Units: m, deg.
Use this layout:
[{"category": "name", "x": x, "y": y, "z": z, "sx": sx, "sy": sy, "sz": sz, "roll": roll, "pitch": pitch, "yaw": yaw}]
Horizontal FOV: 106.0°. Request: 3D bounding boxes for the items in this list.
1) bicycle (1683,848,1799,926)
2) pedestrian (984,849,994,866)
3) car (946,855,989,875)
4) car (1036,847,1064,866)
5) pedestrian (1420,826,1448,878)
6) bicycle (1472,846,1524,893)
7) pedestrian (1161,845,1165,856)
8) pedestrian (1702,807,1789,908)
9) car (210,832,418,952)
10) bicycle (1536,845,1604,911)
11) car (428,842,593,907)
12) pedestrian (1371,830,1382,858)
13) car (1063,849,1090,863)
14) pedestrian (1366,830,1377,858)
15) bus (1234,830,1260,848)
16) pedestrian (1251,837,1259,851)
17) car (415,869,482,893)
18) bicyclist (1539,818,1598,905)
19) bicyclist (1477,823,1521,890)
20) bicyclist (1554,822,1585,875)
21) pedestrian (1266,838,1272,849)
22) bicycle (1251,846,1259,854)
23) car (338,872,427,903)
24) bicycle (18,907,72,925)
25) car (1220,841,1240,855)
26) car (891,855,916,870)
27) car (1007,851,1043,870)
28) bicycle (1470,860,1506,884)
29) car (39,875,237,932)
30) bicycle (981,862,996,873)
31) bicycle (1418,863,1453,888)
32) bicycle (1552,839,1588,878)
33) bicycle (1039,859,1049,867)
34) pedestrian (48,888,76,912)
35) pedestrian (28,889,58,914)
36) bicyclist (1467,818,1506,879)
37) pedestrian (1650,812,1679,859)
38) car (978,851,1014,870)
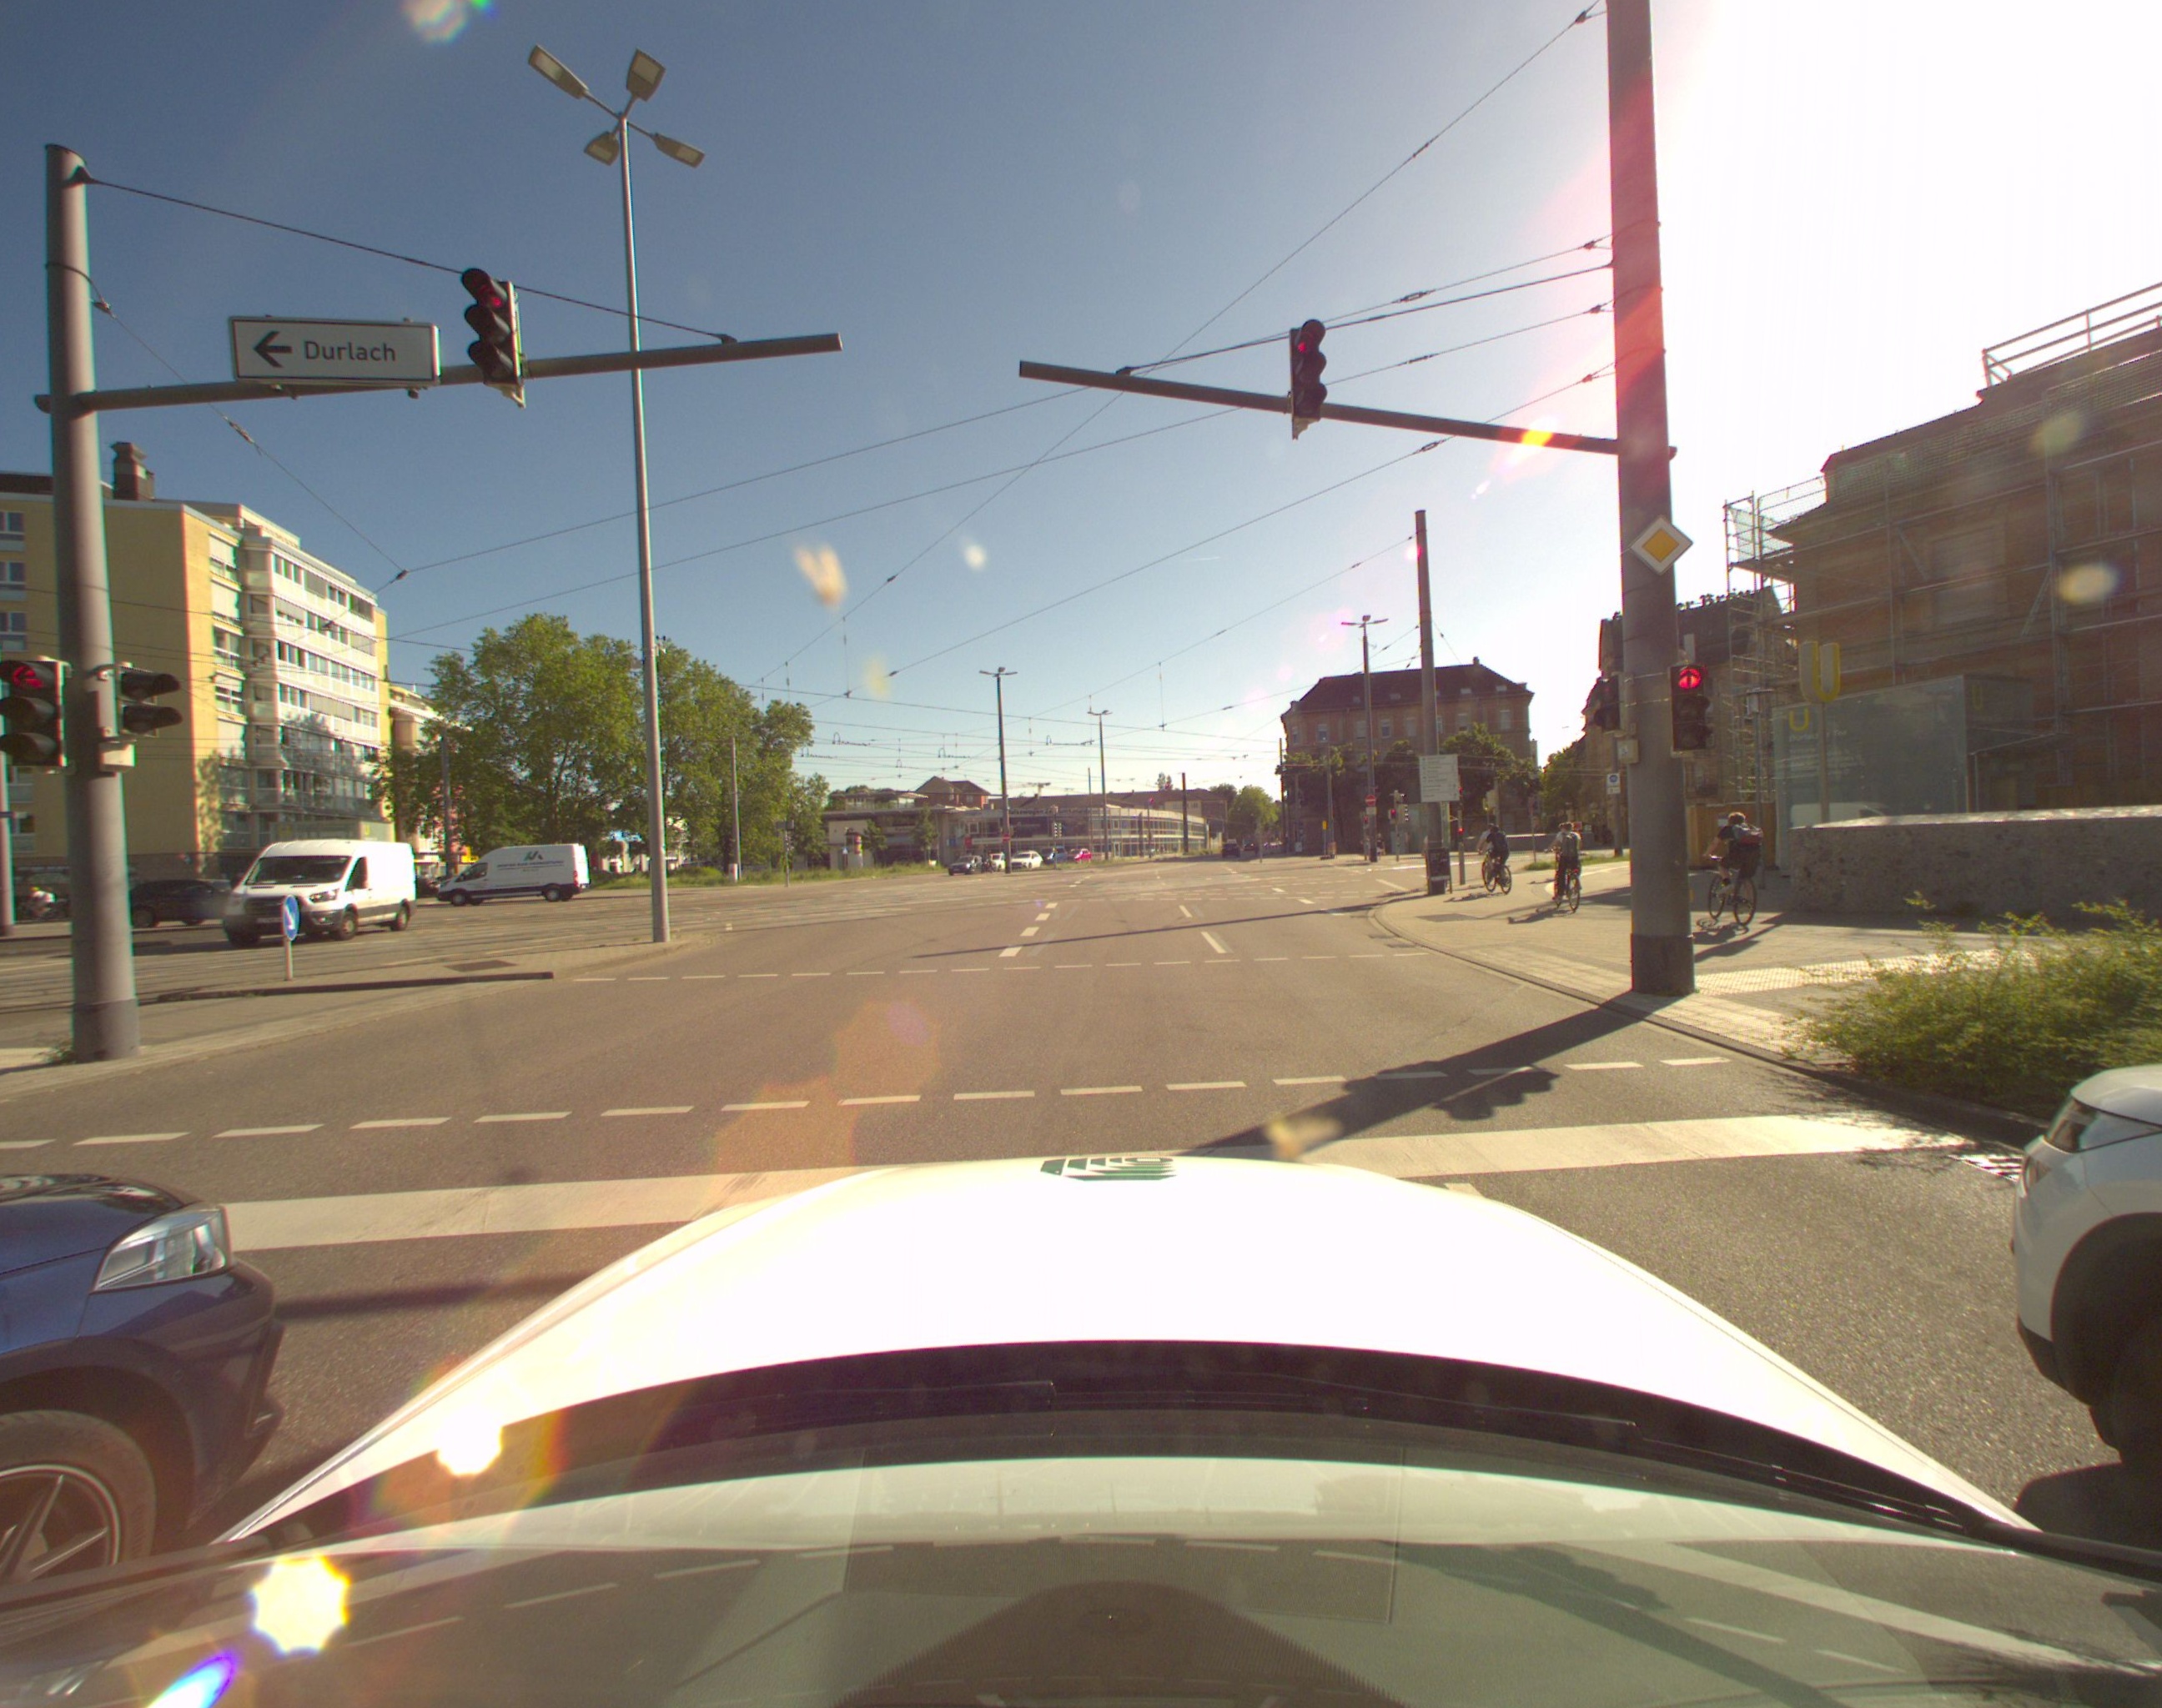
[{"category": "bicycle", "x": 9.877, "y": 0.457, "z": 12.266, "sx": 0.513, "sy": 1.044, "sz": 1.773, "roll": -4, "pitch": 0, "yaw": 10}, {"category": "pedestrian", "x": -6.858, "y": 0.264, "z": 60.822, "sx": 0.419, "sy": 1.204, "sz": 0.753, "roll": -2, "pitch": 0, "yaw": 19}, {"category": "car", "x": -8.500, "y": 0.785, "z": 61.246, "sx": 1.689, "sy": 1.354, "sz": 3.719, "roll": -2, "pitch": 0, "yaw": 19}, {"category": "car", "x": -2.994, "y": 0.234, "z": 79.219, "sx": 1.613, "sy": 1.692, "sz": 3.702, "roll": -2, "pitch": 0, "yaw": 17}, {"category": "pedestrian", "x": 10.838, "y": -0.071, "z": 25.051, "sx": 0.545, "sy": 1.562, "sz": 0.860, "roll": -2, "pitch": 0, "yaw": 9}, {"category": "bicycle", "x": 10.758, "y": 0.374, "z": 21.065, "sx": 0.621, "sy": 1.114, "sz": 1.856, "roll": -5, "pitch": 0, "yaw": 11}, {"category": "pedestrian", "x": 12.530, "y": -0.493, "z": 124.515, "sx": 0.538, "sy": 1.688, "sz": 0.633, "roll": -2, "pitch": 0, "yaw": 19}, {"category": "pedestrian", "x": 9.806, "y": 0.052, "z": 12.054, "sx": 0.513, "sy": 1.402, "sz": 0.964, "roll": -4, "pitch": 0, "yaw": 10}, {"category": "car", "x": -18.721, "y": 0.841, "z": 20.263, "sx": 2.003, "sy": 2.508, "sz": 5.376, "roll": -2, "pitch": 0, "yaw": -24}, {"category": "bicycle", "x": 9.529, "y": 0.443, "z": 15.942, "sx": 0.679, "sy": 1.163, "sz": 1.892, "roll": -4, "pitch": 0, "yaw": 19}, {"category": "car", "x": -26.888, "y": 0.921, "z": 38.647, "sx": 5.920, "sy": 2.744, "sz": 2.131, "roll": -2, "pitch": 0, "yaw": -18}, {"category": "pedestrian", "x": 21.875, "y": -0.722, "z": 60.294, "sx": 0.461, "sy": 2.013, "sz": 0.449, "roll": -3, "pitch": 0, "yaw": -16}, {"category": "car", "x": -0.442, "y": 0.241, "z": 86.289, "sx": 1.613, "sy": 1.364, "sz": 3.703, "roll": -2, "pitch": 0, "yaw": 18}, {"category": "pedestrian", "x": 21.291, "y": -0.715, "z": 59.725, "sx": 0.574, "sy": 2.013, "sz": 0.449, "roll": -3, "pitch": 0, "yaw": -16}, {"category": "bus", "x": 36.429, "y": -3.165, "z": 178.220, "sx": 3.808, "sy": 3.607, "sz": 24.968, "roll": -1, "pitch": 0, "yaw": 15}, {"category": "pedestrian", "x": 20.953, "y": -1.182, "z": 98.039, "sx": 0.796, "sy": 1.632, "sz": 0.721, "roll": -2, "pitch": 0, "yaw": 17}, {"category": "car", "x": -49.745, "y": 2.130, "z": 64.099, "sx": 3.742, "sy": 1.662, "sz": 1.585, "roll": -2, "pitch": 0, "yaw": -18}, {"category": "bicyclist", "x": 9.498, "y": 0.136, "z": 15.902, "sx": 0.679, "sy": 1.598, "sz": 0.982, "roll": -4, "pitch": -1, "yaw": 19}, {"category": "bicyclist", "x": 10.693, "y": 0.058, "z": 20.863, "sx": 0.621, "sy": 1.637, "sz": 0.998, "roll": -5, "pitch": -1, "yaw": 10}, {"category": "bicyclist", "x": 14.868, "y": -0.159, "z": 24.803, "sx": 0.567, "sy": 1.568, "sz": 0.951, "roll": -2, "pitch": 0, "yaw": 20}, {"category": "pedestrian", "x": 26.993, "y": -1.552, "z": 116.804, "sx": 0.740, "sy": 1.523, "sz": 0.721, "roll": -2, "pitch": 0, "yaw": 17}, {"category": "bicycle", "x": 20.903, "y": -0.482, "z": 97.644, "sx": 0.737, "sy": 0.870, "sz": 1.940, "roll": -2, "pitch": 0, "yaw": 17}, {"category": "car", "x": -42.783, "y": 2.037, "z": 49.970, "sx": 3.742, "sy": 1.662, "sz": 1.585, "roll": -2, "pitch": 0, "yaw": -18}, {"category": "bicycle", "x": -50.888, "y": 3.033, "z": 40.019, "sx": 1.634, "sy": 0.758, "sz": 0.421, "roll": -2, "pitch": 0, "yaw": -20}, {"category": "car", "x": 16.695, "y": -0.713, "z": 91.177, "sx": 1.686, "sy": 1.503, "sz": 4.283, "roll": -2, "pitch": 0, "yaw": 16}, {"category": "car", "x": -21.872, "y": 1.066, "z": 100.597, "sx": 1.958, "sy": 1.706, "sz": 4.085, "roll": -2, "pitch": 0, "yaw": 2}, {"category": "car", "x": -4.475, "y": 0.511, "z": 65.226, "sx": 1.613, "sy": 1.382, "sz": 3.754, "roll": -2, "pitch": 0, "yaw": 17}, {"category": "bicycle", "x": 12.291, "y": 0.532, "z": 24.632, "sx": 0.534, "sy": 0.655, "sz": 1.471, "roll": -3, "pitch": 0, "yaw": 9}, {"category": "car", "x": -32.412, "y": 1.667, "z": 28.144, "sx": 4.065, "sy": 1.659, "sz": 1.861, "roll": -2, "pitch": 0, "yaw": -14}, {"category": "bicycle", "x": -6.882, "y": 0.993, "z": 60.668, "sx": 0.419, "sy": 0.718, "sz": 1.642, "roll": -2, "pitch": 0, "yaw": 19}, {"category": "bicycle", "x": 10.884, "y": 0.651, "z": 25.057, "sx": 0.533, "sy": 0.655, "sz": 1.730, "roll": -5, "pitch": 0, "yaw": 10}, {"category": "bicycle", "x": 14.902, "y": 0.130, "z": 24.867, "sx": 0.567, "sy": 1.125, "sz": 1.749, "roll": -2, "pitch": 0, "yaw": 20}, {"category": "bicycle", "x": -3.900, "y": 0.923, "z": 85.488, "sx": 0.419, "sy": 0.718, "sz": 1.483, "roll": -2, "pitch": 0, "yaw": 21}, {"category": "pedestrian", "x": -51.529, "y": 2.310, "z": 41.188, "sx": 0.749, "sy": 1.127, "sz": 0.421, "roll": -2, "pitch": 0, "yaw": -18}, {"category": "pedestrian", "x": -50.977, "y": 2.331, "z": 39.998, "sx": 0.750, "sy": 1.204, "sz": 0.421, "roll": -2, "pitch": 0, "yaw": -20}, {"category": "bicyclist", "x": 12.246, "y": -0.164, "z": 24.622, "sx": 0.742, "sy": 1.778, "sz": 0.926, "roll": -3, "pitch": 0, "yaw": 9}, {"category": "pedestrian", "x": 23.945, "y": -0.747, "z": 33.406, "sx": 0.887, "sy": 1.859, "sz": 0.933, "roll": -2, "pitch": 0, "yaw": 36}, {"category": "car", "x": -6.981, "y": 0.545, "z": 67.169, "sx": 1.613, "sy": 1.424, "sz": 3.702, "roll": -2, "pitch": 0, "yaw": 17}]
